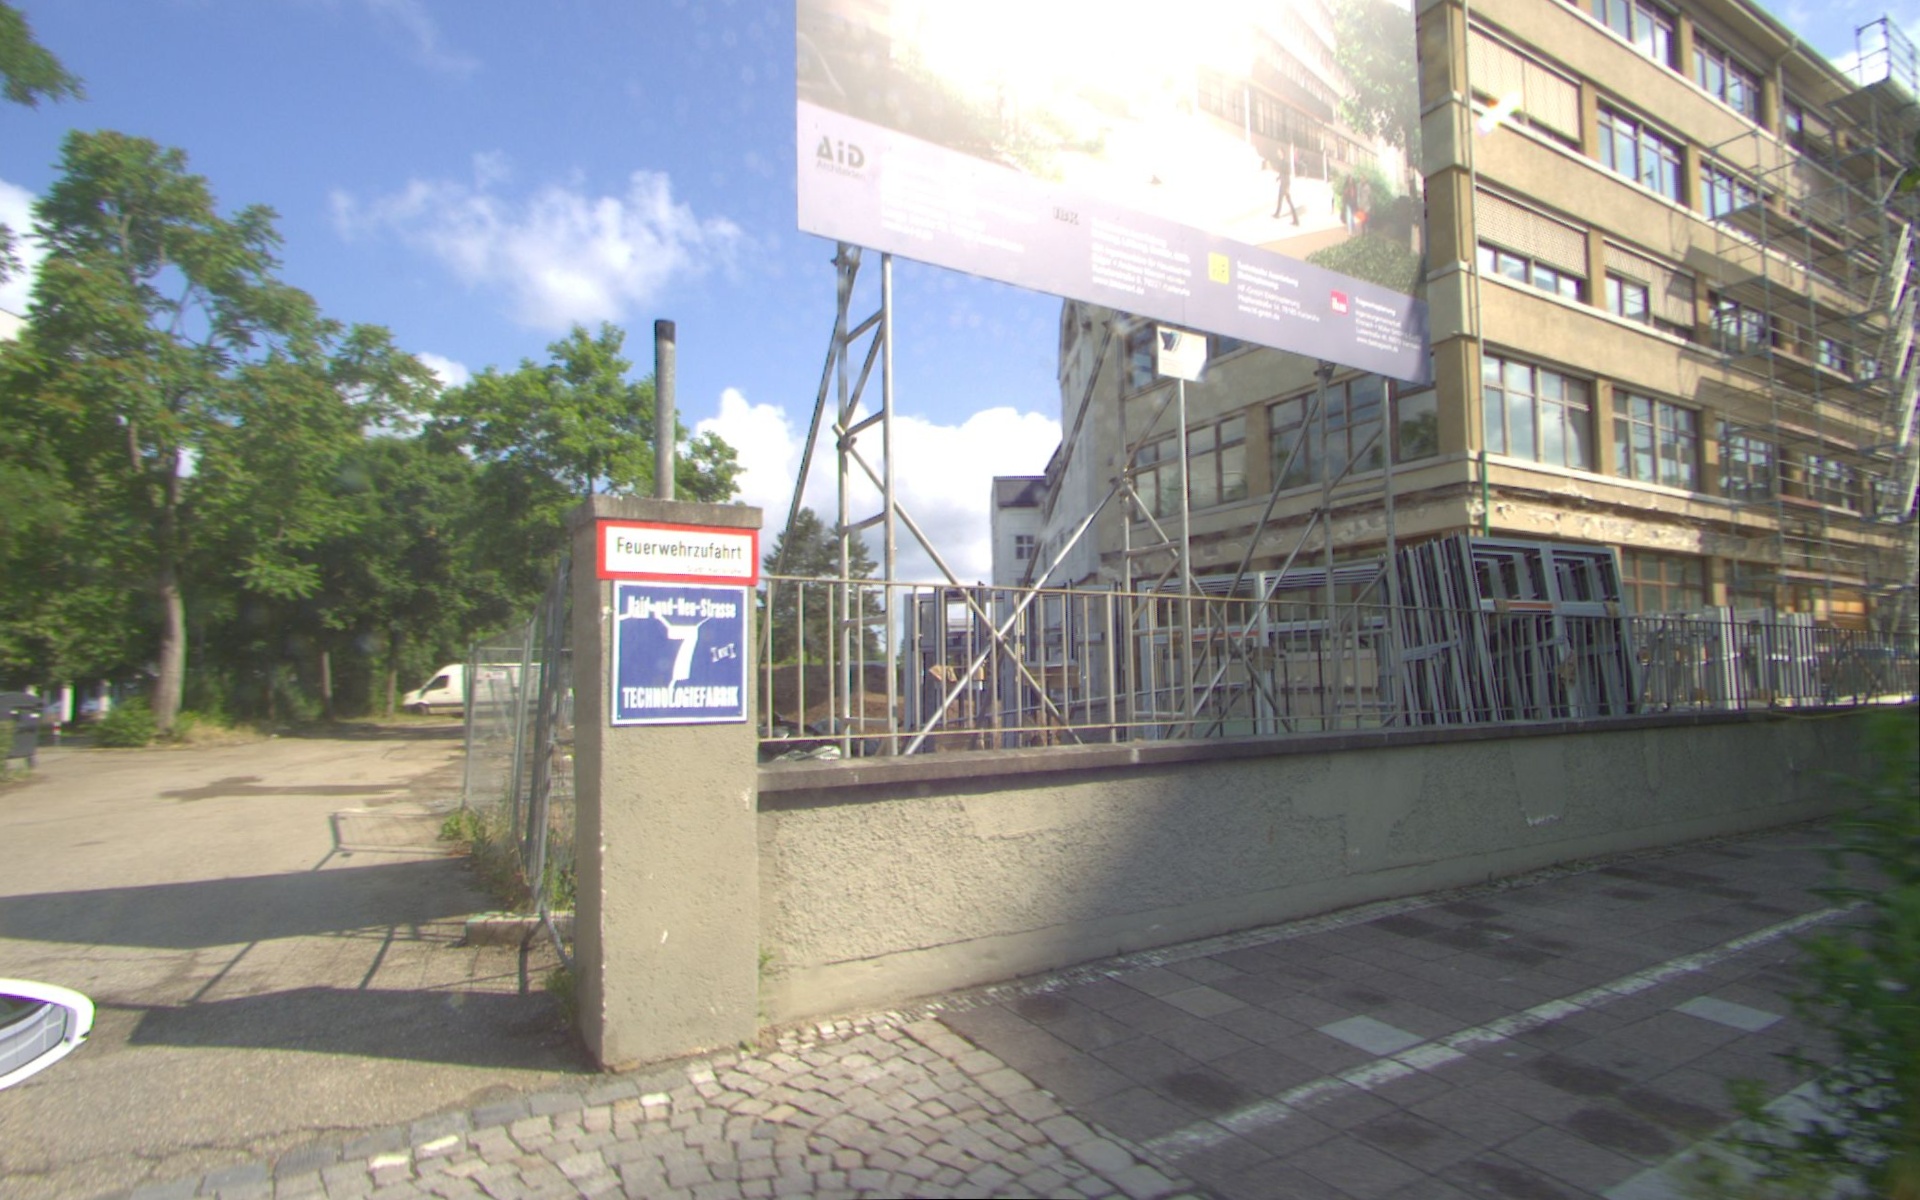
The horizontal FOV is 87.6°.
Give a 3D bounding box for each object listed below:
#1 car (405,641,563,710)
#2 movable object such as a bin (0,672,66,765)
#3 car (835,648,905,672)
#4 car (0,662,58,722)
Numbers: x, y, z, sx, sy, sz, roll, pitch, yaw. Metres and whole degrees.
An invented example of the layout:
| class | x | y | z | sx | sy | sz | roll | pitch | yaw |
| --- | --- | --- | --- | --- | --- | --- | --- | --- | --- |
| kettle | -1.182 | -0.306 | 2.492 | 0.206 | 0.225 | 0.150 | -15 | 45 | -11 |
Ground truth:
| class | x | y | z | sx | sy | sz | roll | pitch | yaw |
| --- | --- | --- | --- | --- | --- | --- | --- | --- | --- |
| car | -23.390 | 3.690 | 49.564 | 6.856 | 3.090 | 1.993 | 1 | 3 | -19 |
| movable object such as a bin | -17.814 | 2.183 | 18.642 | 1.272 | 1.502 | 1.248 | 4 | 2 | 17 |
| car | -6.249 | 4.193 | 70.149 | 4.774 | 1.447 | 1.844 | 1 | 1 | -2 |
| car | -27.535 | 2.675 | 27.697 | 1.725 | 1.440 | 3.911 | 0 | 4 | -4 |
